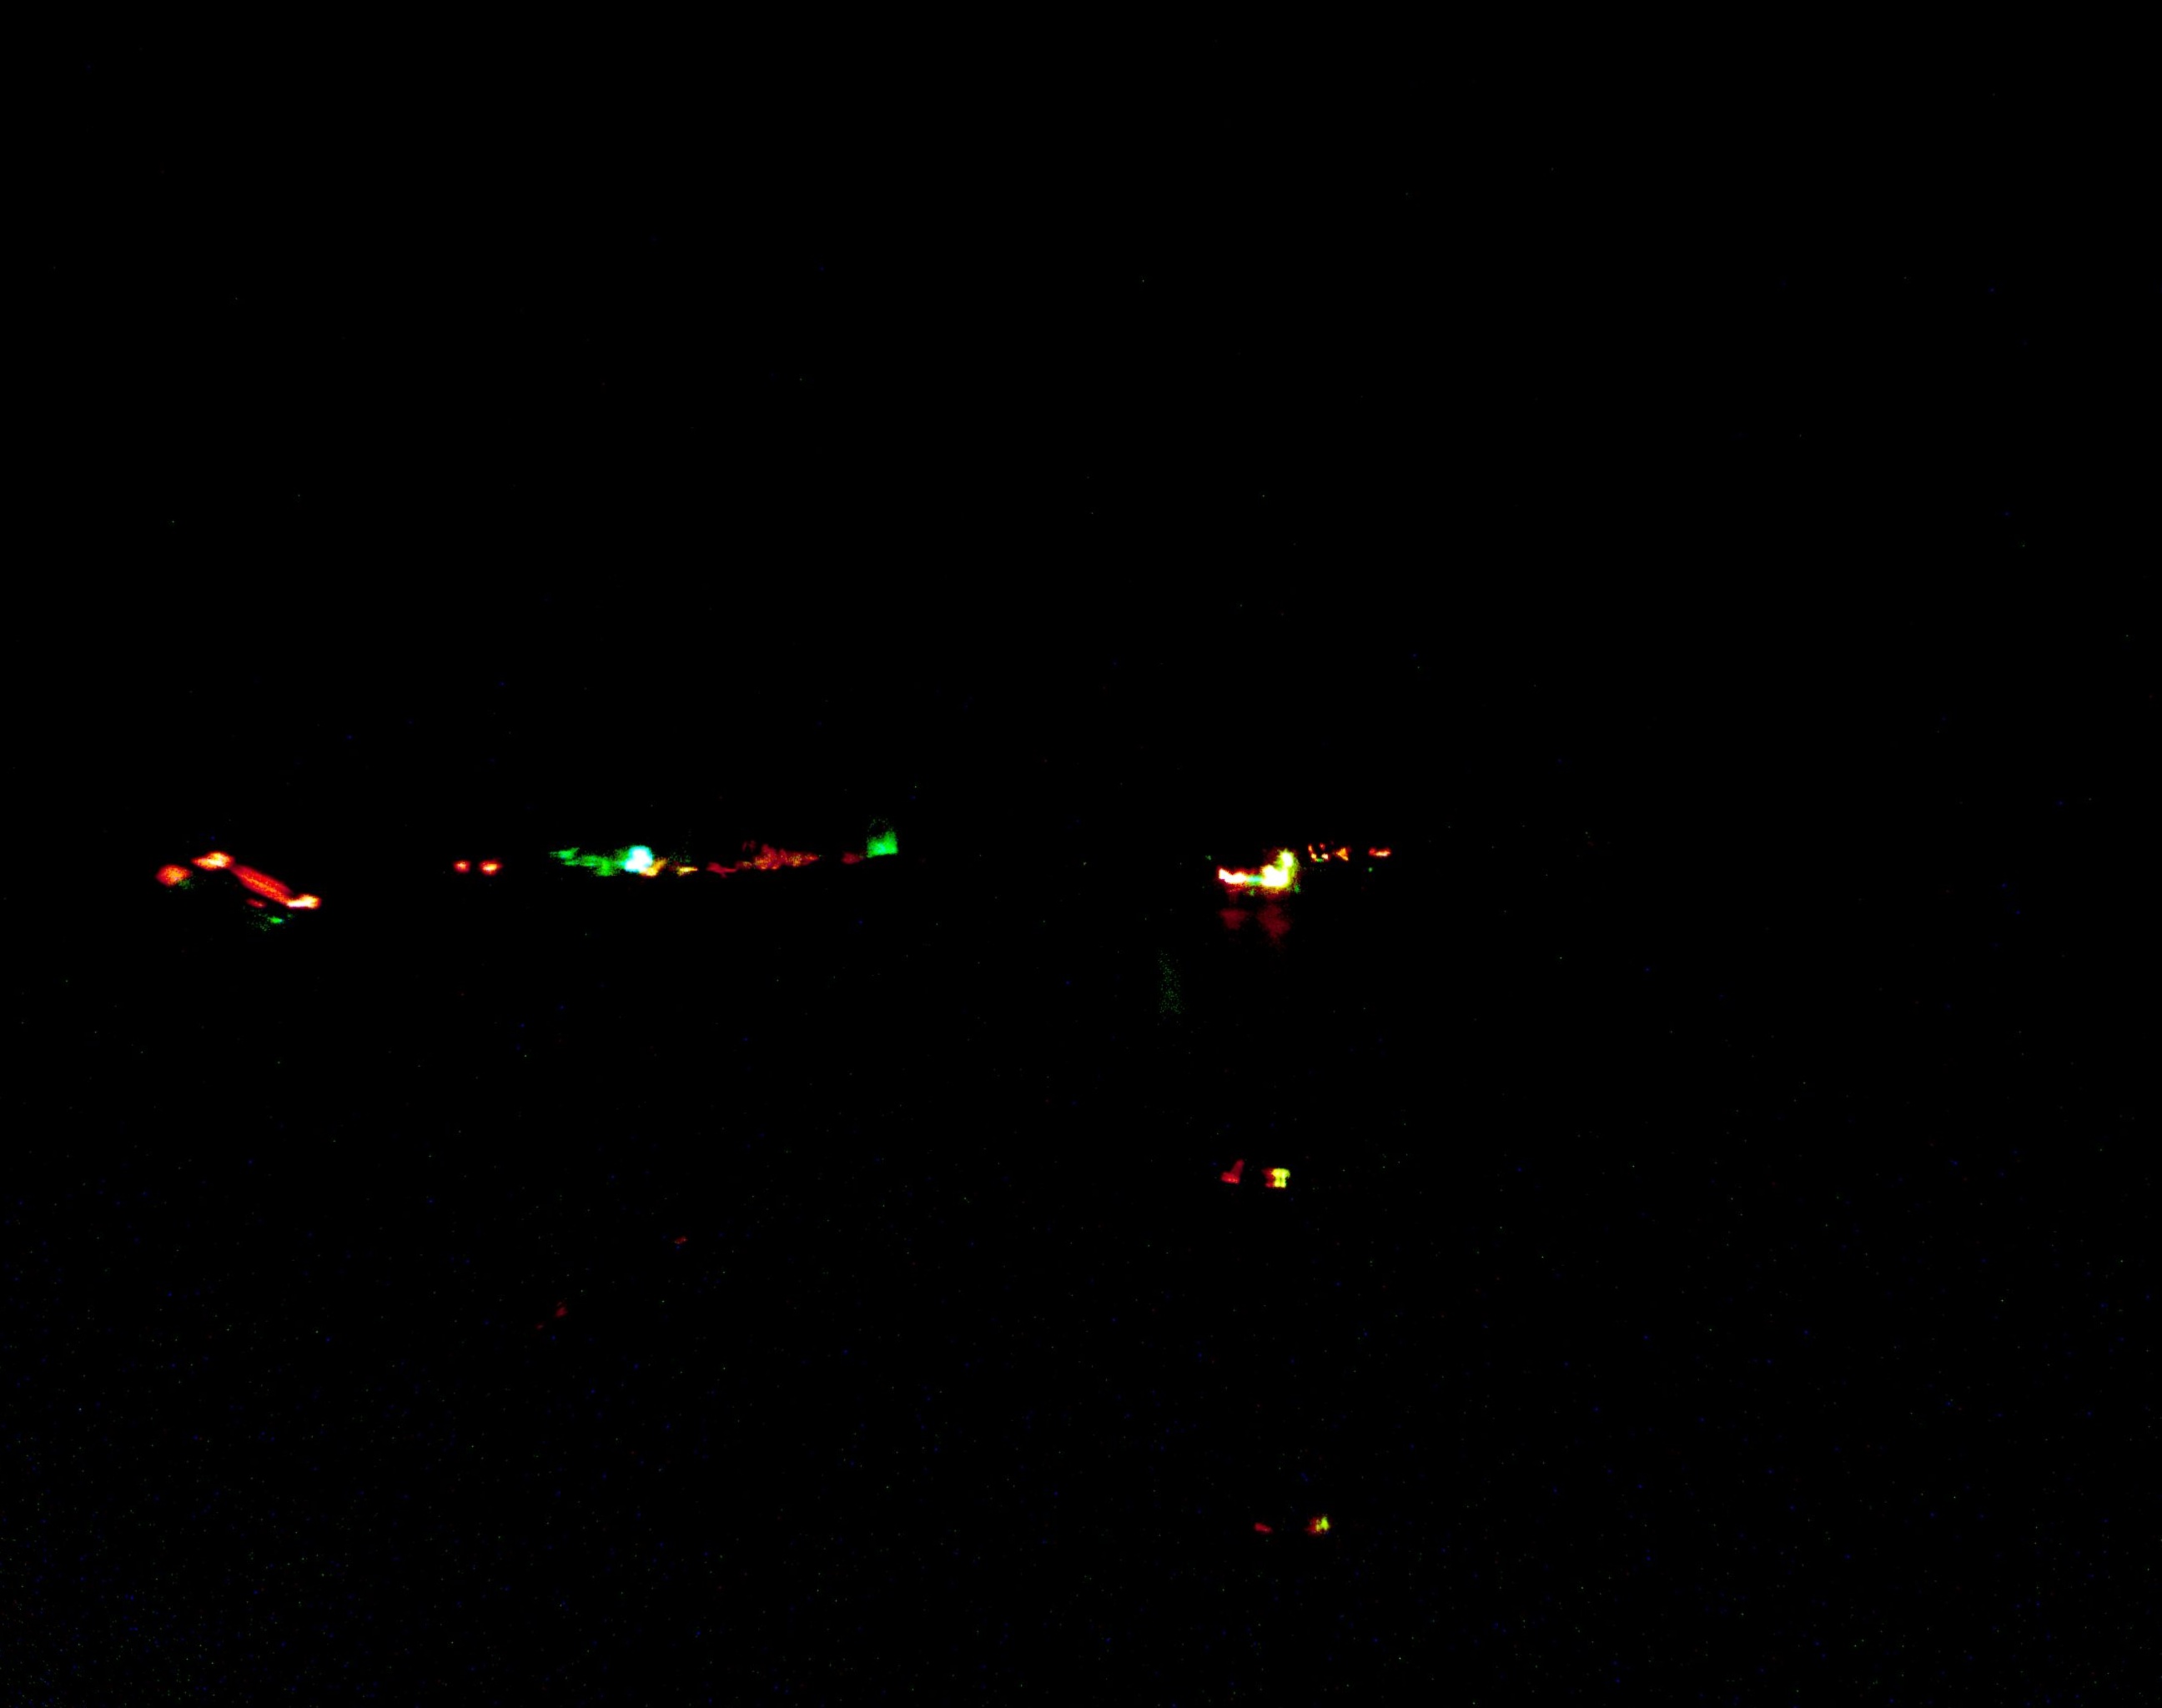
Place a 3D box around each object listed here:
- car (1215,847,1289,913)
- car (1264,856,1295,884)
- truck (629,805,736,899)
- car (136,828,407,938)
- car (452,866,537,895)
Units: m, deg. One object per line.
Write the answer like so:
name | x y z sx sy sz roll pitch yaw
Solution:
car | 5.102 0.759 24.624 1.981 1.808 4.011 1 -1 10
car | 13.882 1.117 56.765 1.979 1.808 4.016 1 -1 15
truck | -26.568 -0.057 55.149 4.217 5.649 11.408 1 -1 -15
car | -17.003 0.581 17.532 2.131 2.014 4.619 1 -1 -17
car | -32.287 1.409 45.019 1.996 1.476 5.140 1 -1 -14
